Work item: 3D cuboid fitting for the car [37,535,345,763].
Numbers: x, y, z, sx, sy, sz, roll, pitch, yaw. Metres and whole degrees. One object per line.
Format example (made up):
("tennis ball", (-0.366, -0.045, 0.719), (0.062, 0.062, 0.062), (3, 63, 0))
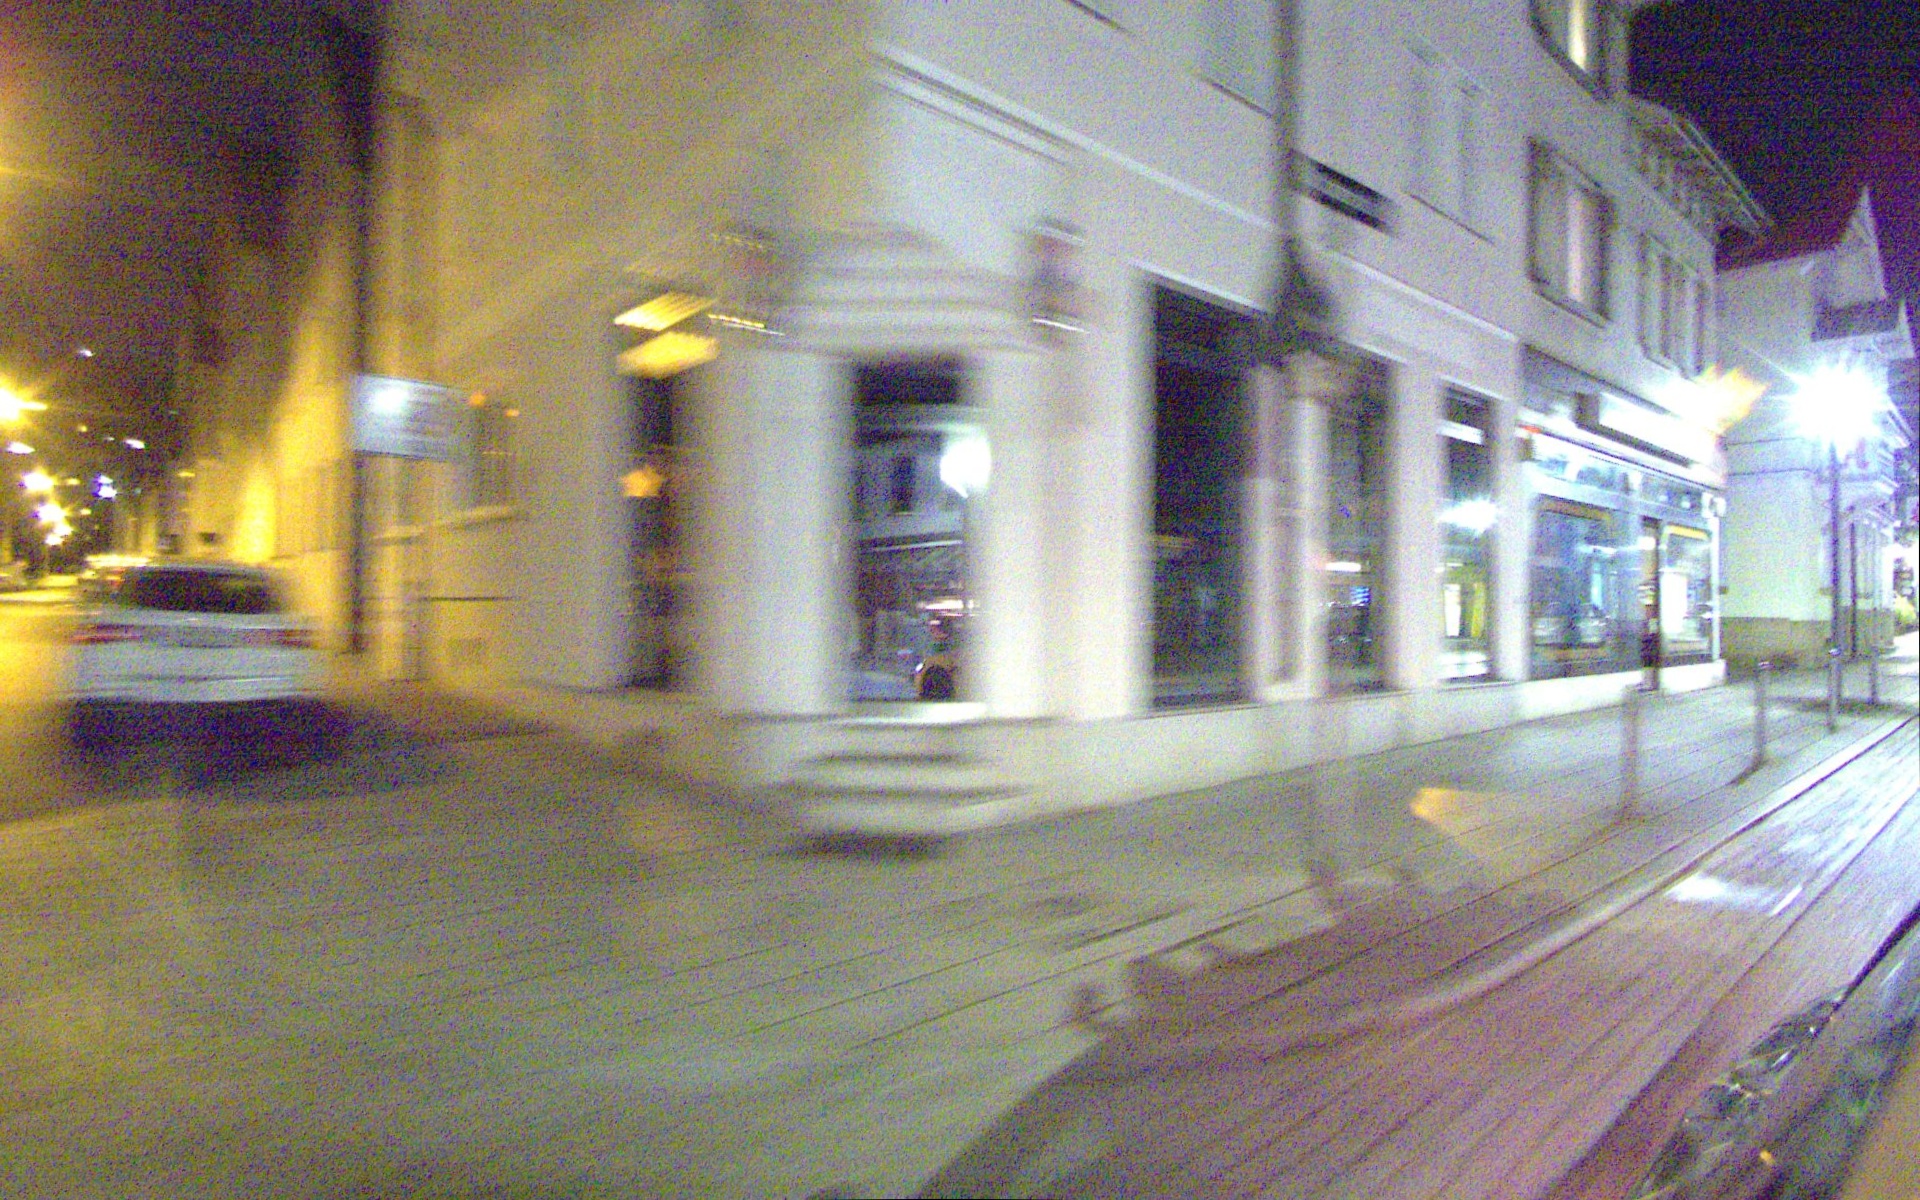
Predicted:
("car", (-7.329, 0.321, 9.627), (1.866, 1.659, 4.315), (3, 0, -40))

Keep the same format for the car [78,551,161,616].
("car", (-24.461, -0.503, 29.489), (1.667, 1.687, 4.212), (4, -1, -40))

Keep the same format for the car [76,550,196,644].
("car", (-16.827, -0.096, 20.697), (1.667, 1.687, 3.943), (4, -1, -40))
